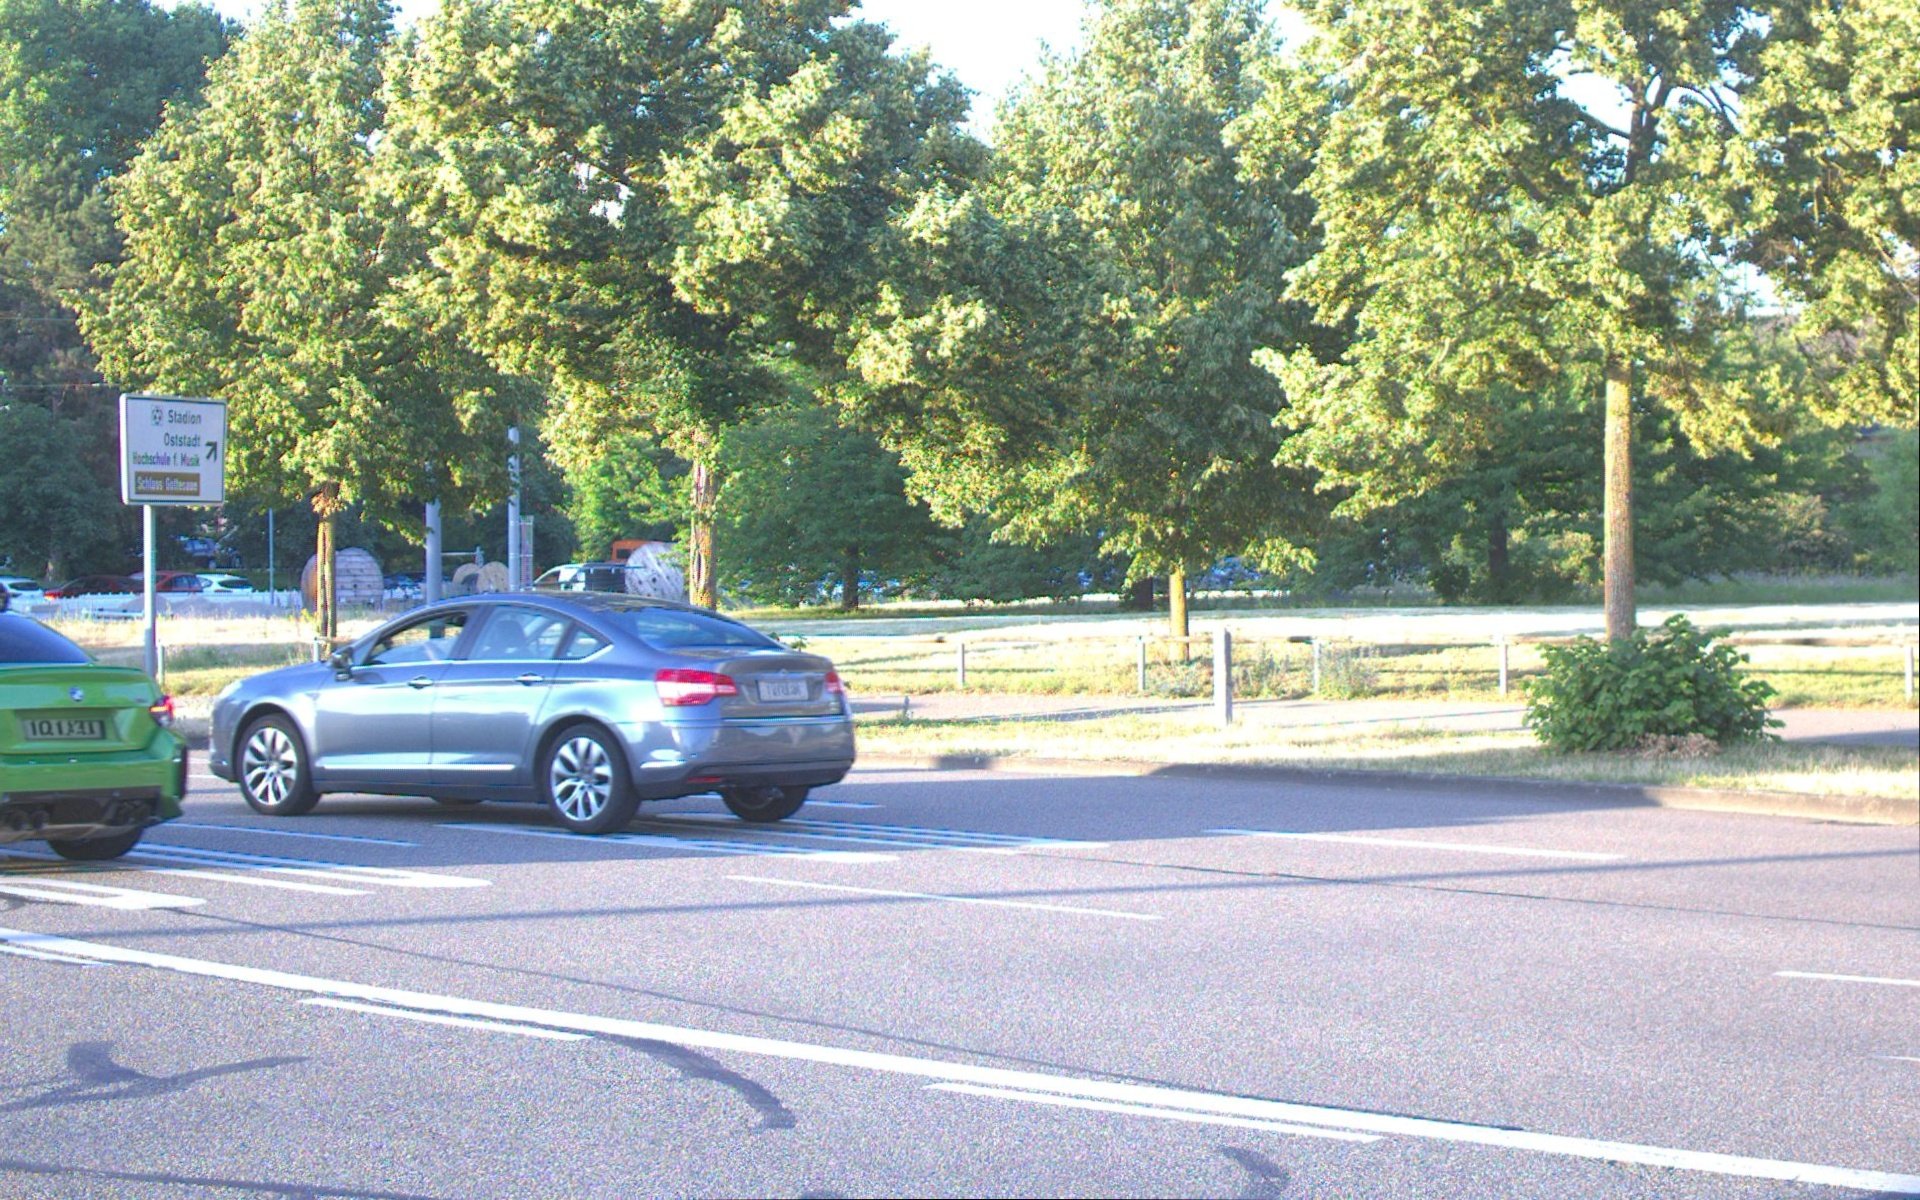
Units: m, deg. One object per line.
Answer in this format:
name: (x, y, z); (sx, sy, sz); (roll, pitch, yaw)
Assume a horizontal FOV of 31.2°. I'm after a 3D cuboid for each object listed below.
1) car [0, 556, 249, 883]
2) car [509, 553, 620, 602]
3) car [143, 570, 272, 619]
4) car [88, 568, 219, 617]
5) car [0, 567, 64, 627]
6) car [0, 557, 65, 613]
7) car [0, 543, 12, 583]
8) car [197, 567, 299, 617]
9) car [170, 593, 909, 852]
car: (-6.059, 0.566, 18.482); (4.481, 1.573, 1.995); (0, 1, 39)
car: (-13.218, -0.771, 114.891); (1.734, 1.612, 3.998); (-1, 1, -41)
car: (-25.360, -0.200, 115.833); (3.994, 1.598, 1.996); (0, 1, 33)
car: (-26.764, -0.255, 114.103); (3.994, 1.598, 1.996); (0, 1, 33)
car: (-33.137, -0.087, 117.682); (4.582, 2.007, 2.001); (-1, 1, -9)
car: (-35.222, -0.545, 125.816); (4.582, 2.007, 2.001); (-1, 1, -9)
car: (-42.401, -1.570, 145.373); (3.988, 1.700, 2.000); (0, 1, 7)
car: (-26.808, -0.315, 129.312); (1.994, 1.746, 4.597); (-1, 2, -37)
car: (-2.765, 0.709, 22.103); (4.665, 1.459, 1.883); (0, 1, 35)
